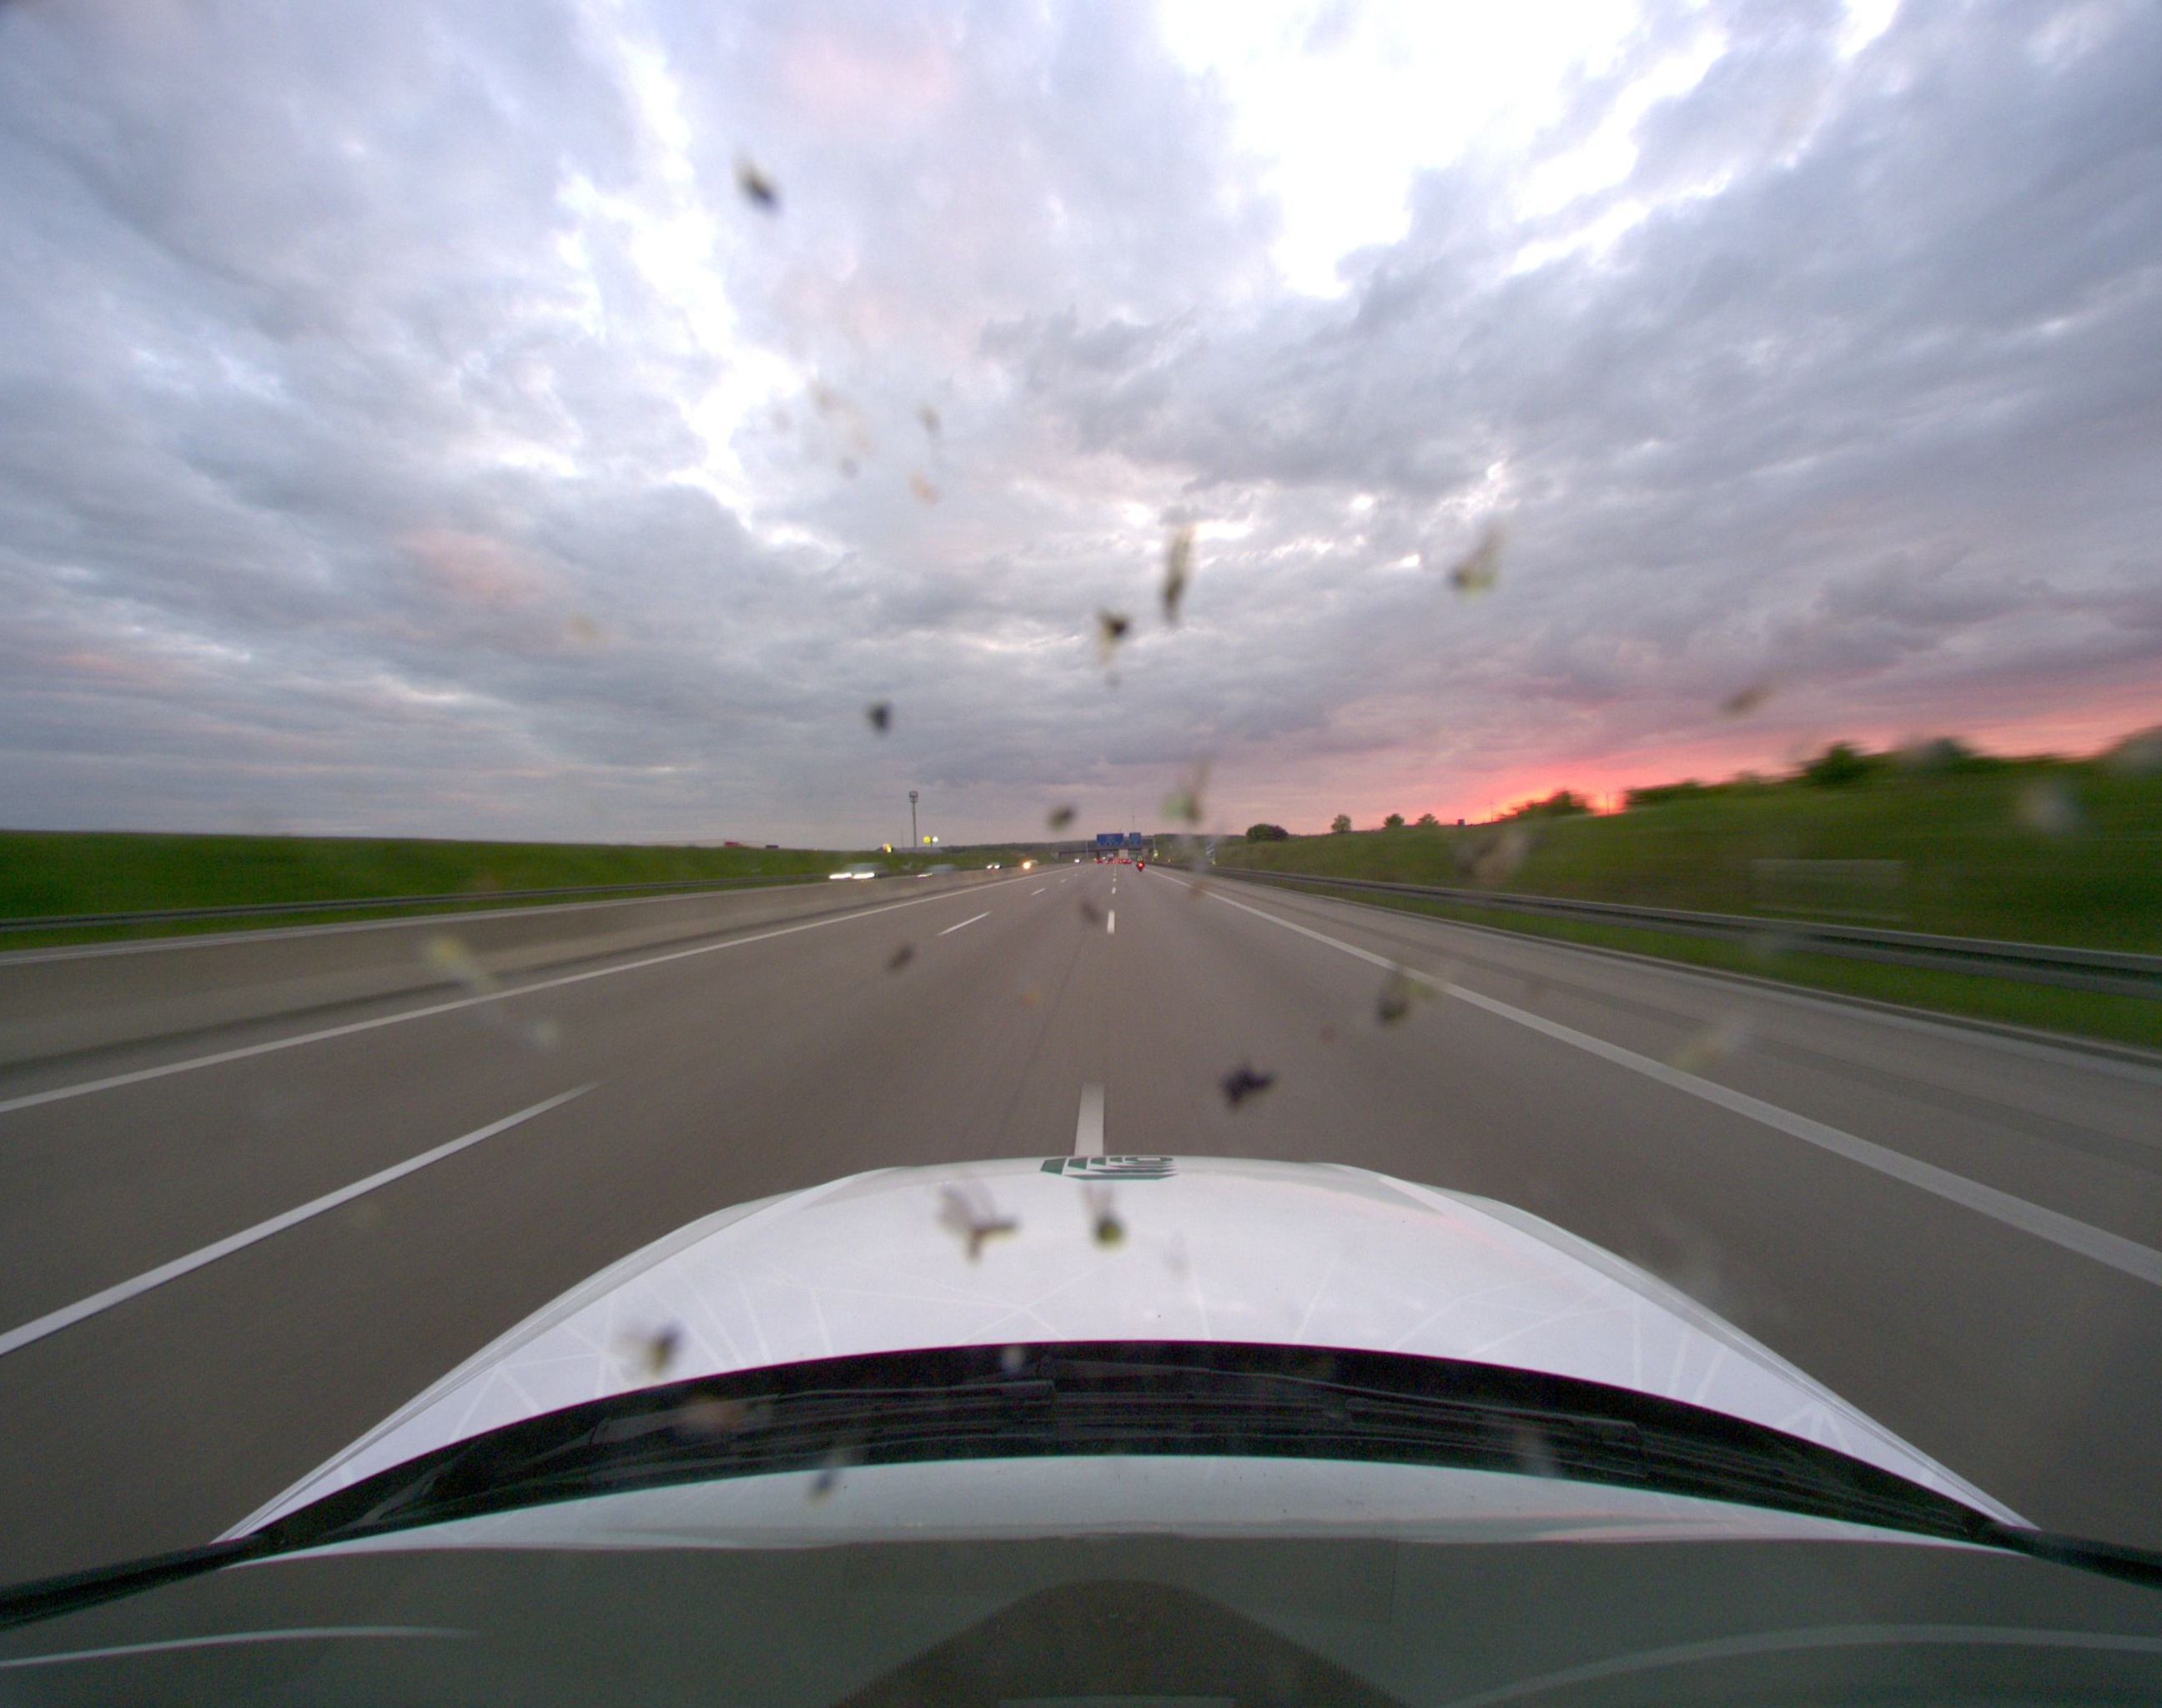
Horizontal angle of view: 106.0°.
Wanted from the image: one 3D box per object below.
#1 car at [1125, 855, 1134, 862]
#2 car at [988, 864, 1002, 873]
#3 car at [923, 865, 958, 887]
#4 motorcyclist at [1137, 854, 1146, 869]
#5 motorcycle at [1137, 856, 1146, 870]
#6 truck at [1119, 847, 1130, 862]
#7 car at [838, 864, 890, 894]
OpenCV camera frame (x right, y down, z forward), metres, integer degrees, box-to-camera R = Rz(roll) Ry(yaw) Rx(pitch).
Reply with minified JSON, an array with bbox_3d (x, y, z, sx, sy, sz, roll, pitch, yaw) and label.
[{"bbox_3d":[11.660,1.071,195.383,1.911,1.579,4.001,-2,0,2],"label":"car"},{"bbox_3d":[-14.572,2.442,138.153,1.732,1.392,4.344,-2,0,2],"label":"car"},{"bbox_3d":[-10.500,1.636,61.147,1.732,1.499,4.132,-2,0,2],"label":"car"},{"bbox_3d":[6.319,0.779,85.214,0.862,1.487,1.169,0,0,4],"label":"motorcyclist"},{"bbox_3d":[6.353,0.934,85.328,0.898,1.346,2.350,-1,0,3],"label":"motorcycle"},{"bbox_3d":[12.654,0.183,238.410,3.220,4.227,9.605,0,0,3],"label":"truck"},{"bbox_3d":[-14.606,1.650,55.127,2.093,1.810,5.020,-2,0,0],"label":"car"}]
